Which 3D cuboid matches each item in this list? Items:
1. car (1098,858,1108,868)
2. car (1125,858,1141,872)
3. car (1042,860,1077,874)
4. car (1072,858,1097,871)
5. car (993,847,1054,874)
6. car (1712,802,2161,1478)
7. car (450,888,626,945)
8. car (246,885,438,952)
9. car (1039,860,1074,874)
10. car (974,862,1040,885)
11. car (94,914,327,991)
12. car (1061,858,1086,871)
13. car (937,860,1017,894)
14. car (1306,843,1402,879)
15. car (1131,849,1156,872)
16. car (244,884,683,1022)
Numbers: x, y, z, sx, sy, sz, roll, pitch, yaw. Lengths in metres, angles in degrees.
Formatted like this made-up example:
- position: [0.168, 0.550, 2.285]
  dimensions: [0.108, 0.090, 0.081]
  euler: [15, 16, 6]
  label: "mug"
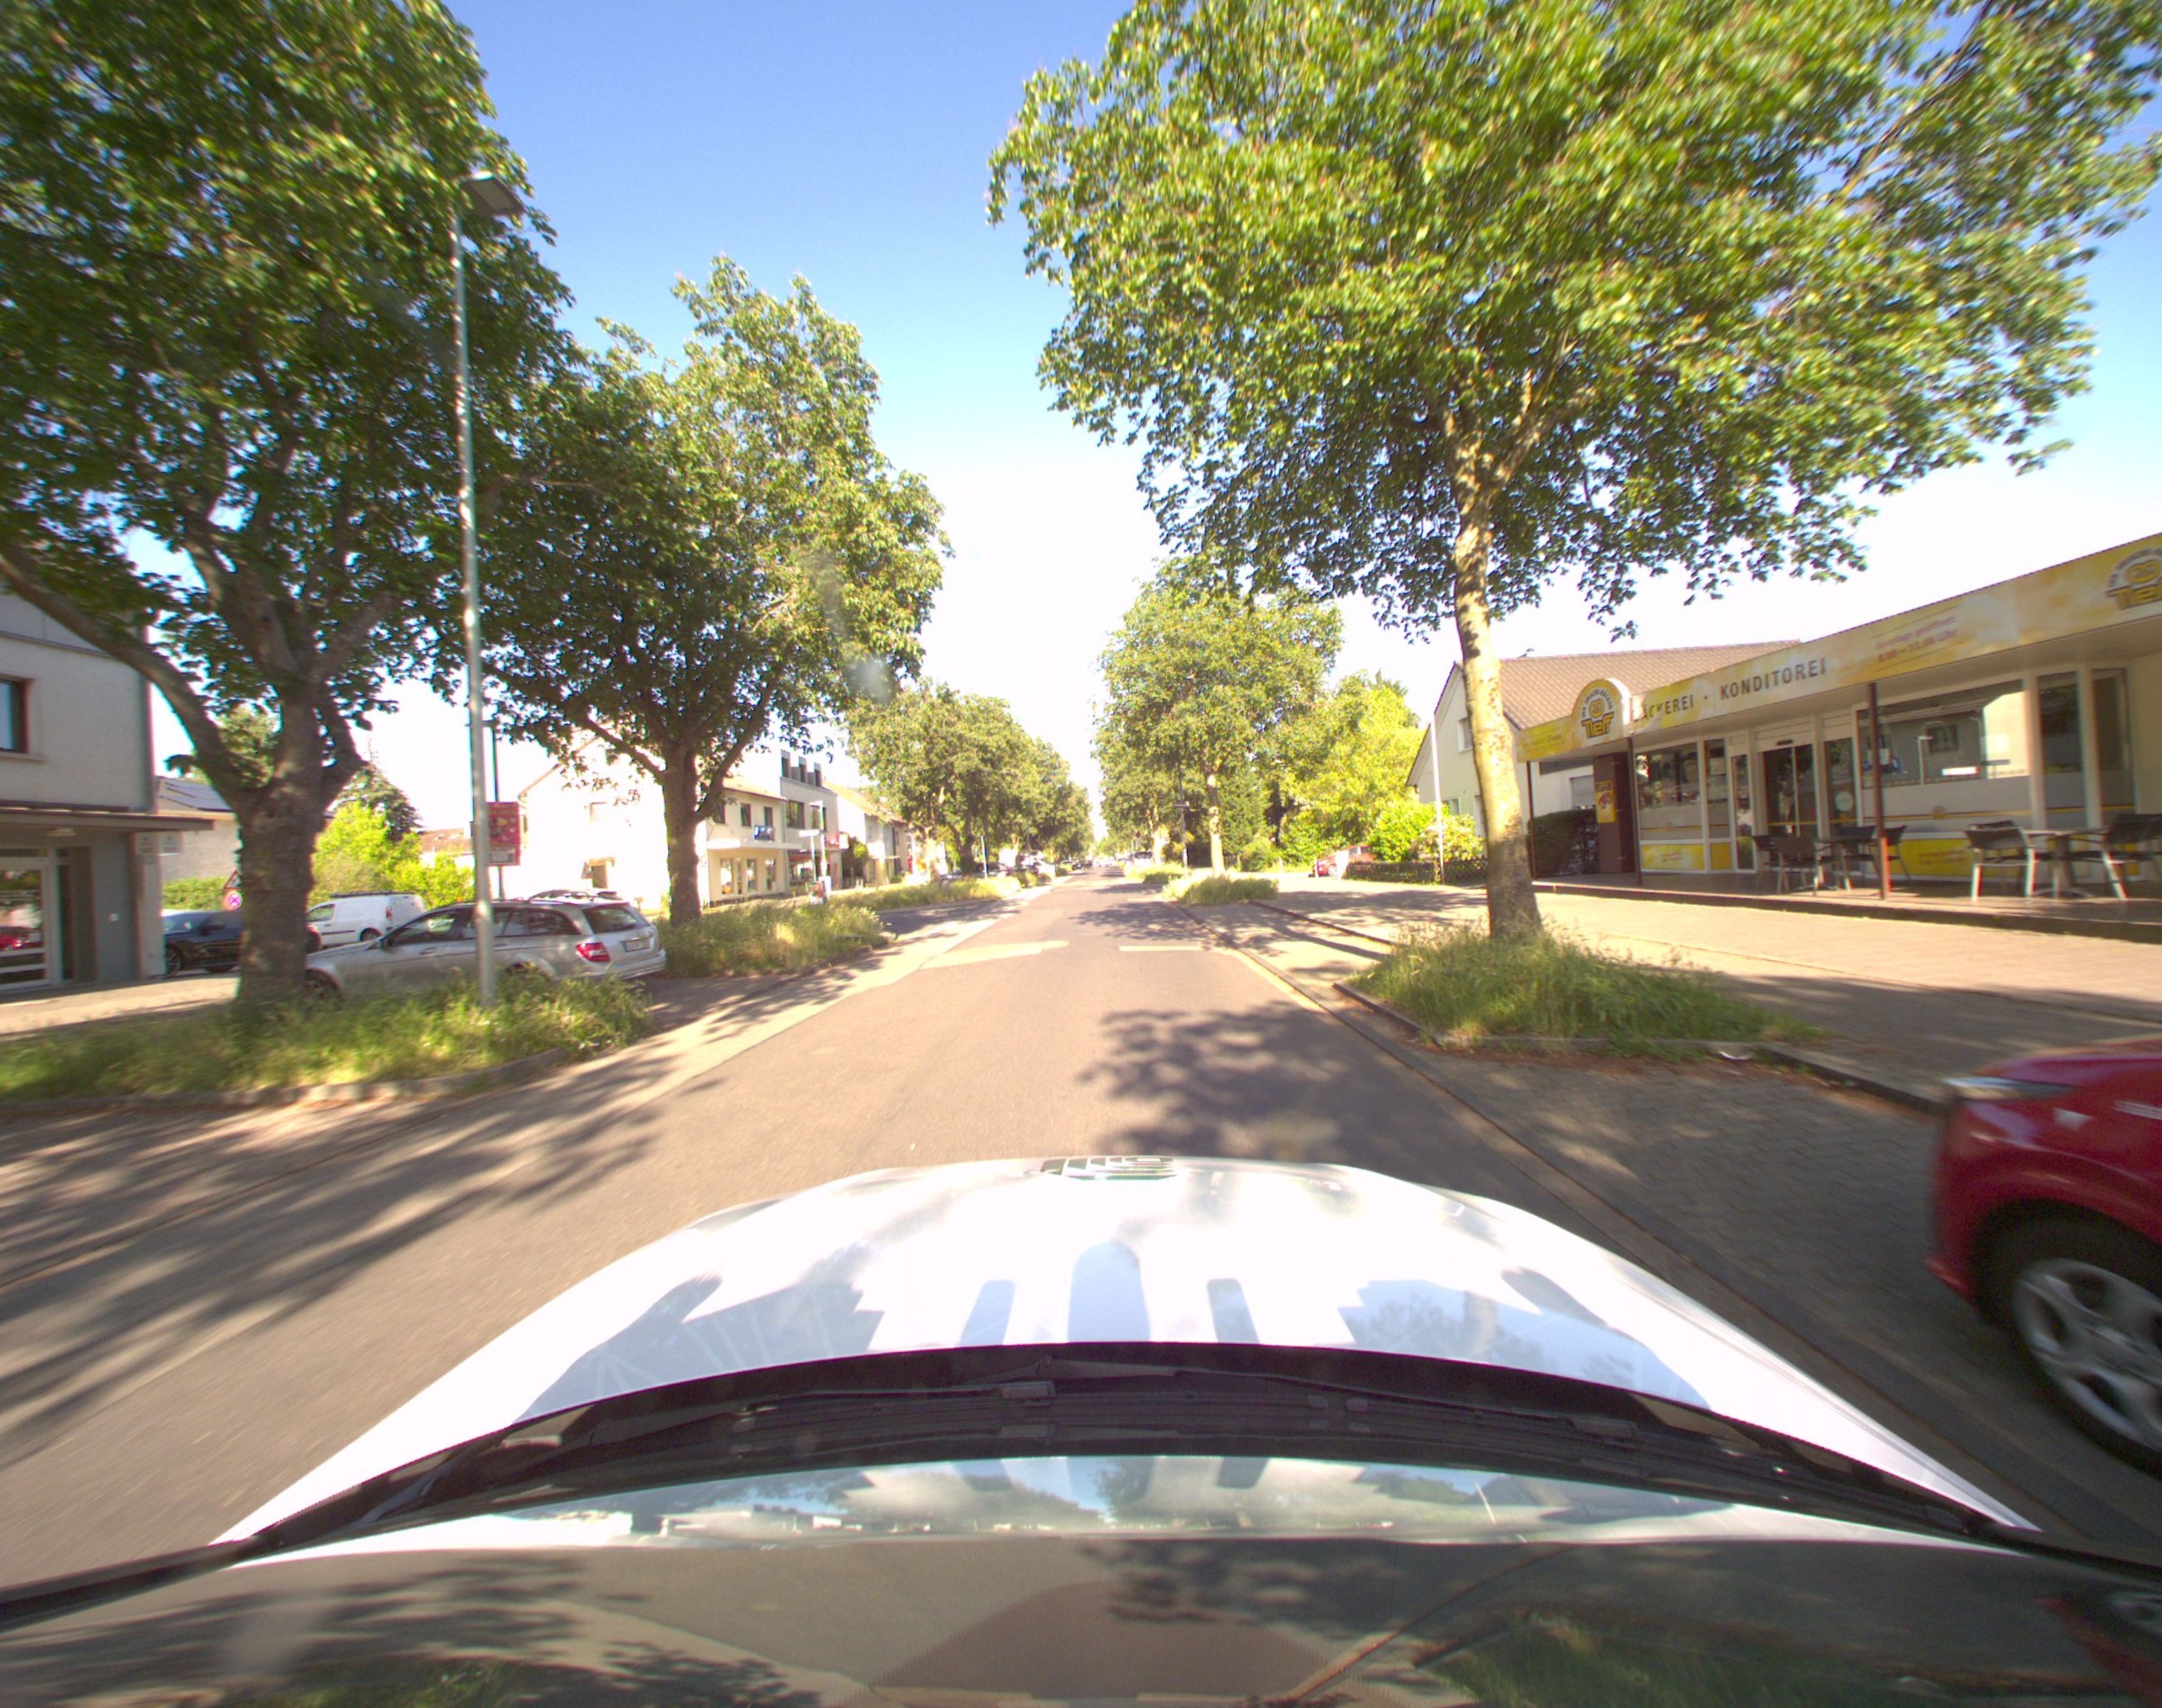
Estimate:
- position: [4.481, 1.832, 164.519]
  dimensions: [1.797, 1.705, 4.000]
  euler: [-2, 1, 0]
  label: "car"
- position: [6.747, 1.441, 105.443]
  dimensions: [1.895, 1.774, 4.303]
  euler: [-2, -1, 2]
  label: "car"
- position: [-2.376, 1.447, 90.491]
  dimensions: [3.684, 1.446, 1.666]
  euler: [-2, -1, 5]
  label: "car"
- position: [0.535, 1.522, 115.547]
  dimensions: [1.975, 1.644, 4.024]
  euler: [-1, 1, 25]
  label: "car"
- position: [-5.386, 0.596, 76.509]
  dimensions: [5.481, 2.247, 2.516]
  euler: [-2, 1, 0]
  label: "car"
- position: [3.183, 0.597, 1.104]
  dimensions: [1.690, 1.479, 3.891]
  euler: [-5, -1, 3]
  label: "car"
- position: [-18.531, 2.110, 27.973]
  dimensions: [4.543, 1.618, 1.999]
  euler: [-2, 1, -3]
  label: "car"
- position: [-25.207, 2.163, 27.914]
  dimensions: [4.543, 1.927, 1.999]
  euler: [-2, 1, -3]
  label: "car"
- position: [-2.798, 1.514, 93.450]
  dimensions: [3.684, 1.446, 1.666]
  euler: [-2, -1, 5]
  label: "car"
- position: [-4.905, 1.310, 54.726]
  dimensions: [4.277, 1.315, 1.907]
  euler: [-2, 1, -3]
  label: "car"
- position: [-19.965, 2.215, 18.909]
  dimensions: [1.535, 1.237, 3.511]
  euler: [-2, 1, 1]
  label: "car"
- position: [-1.340, 1.858, 139.444]
  dimensions: [3.967, 2.013, 2.004]
  euler: [-2, 1, 6]
  label: "car"
- position: [-6.144, 1.331, 48.641]
  dimensions: [4.536, 1.765, 1.998]
  euler: [-2, 1, -3]
  label: "car"
- position: [13.910, 0.342, 41.654]
  dimensions: [4.270, 1.609, 2.001]
  euler: [-2, 1, 2]
  label: "car"
- position: [5.141, 0.525, 67.277]
  dimensions: [1.895, 1.774, 4.303]
  euler: [-2, -1, 2]
  label: "car"
- position: [-8.166, 1.272, 11.086]
  dimensions: [4.538, 1.511, 1.841]
  euler: [-2, 0, 1]
  label: "car"
